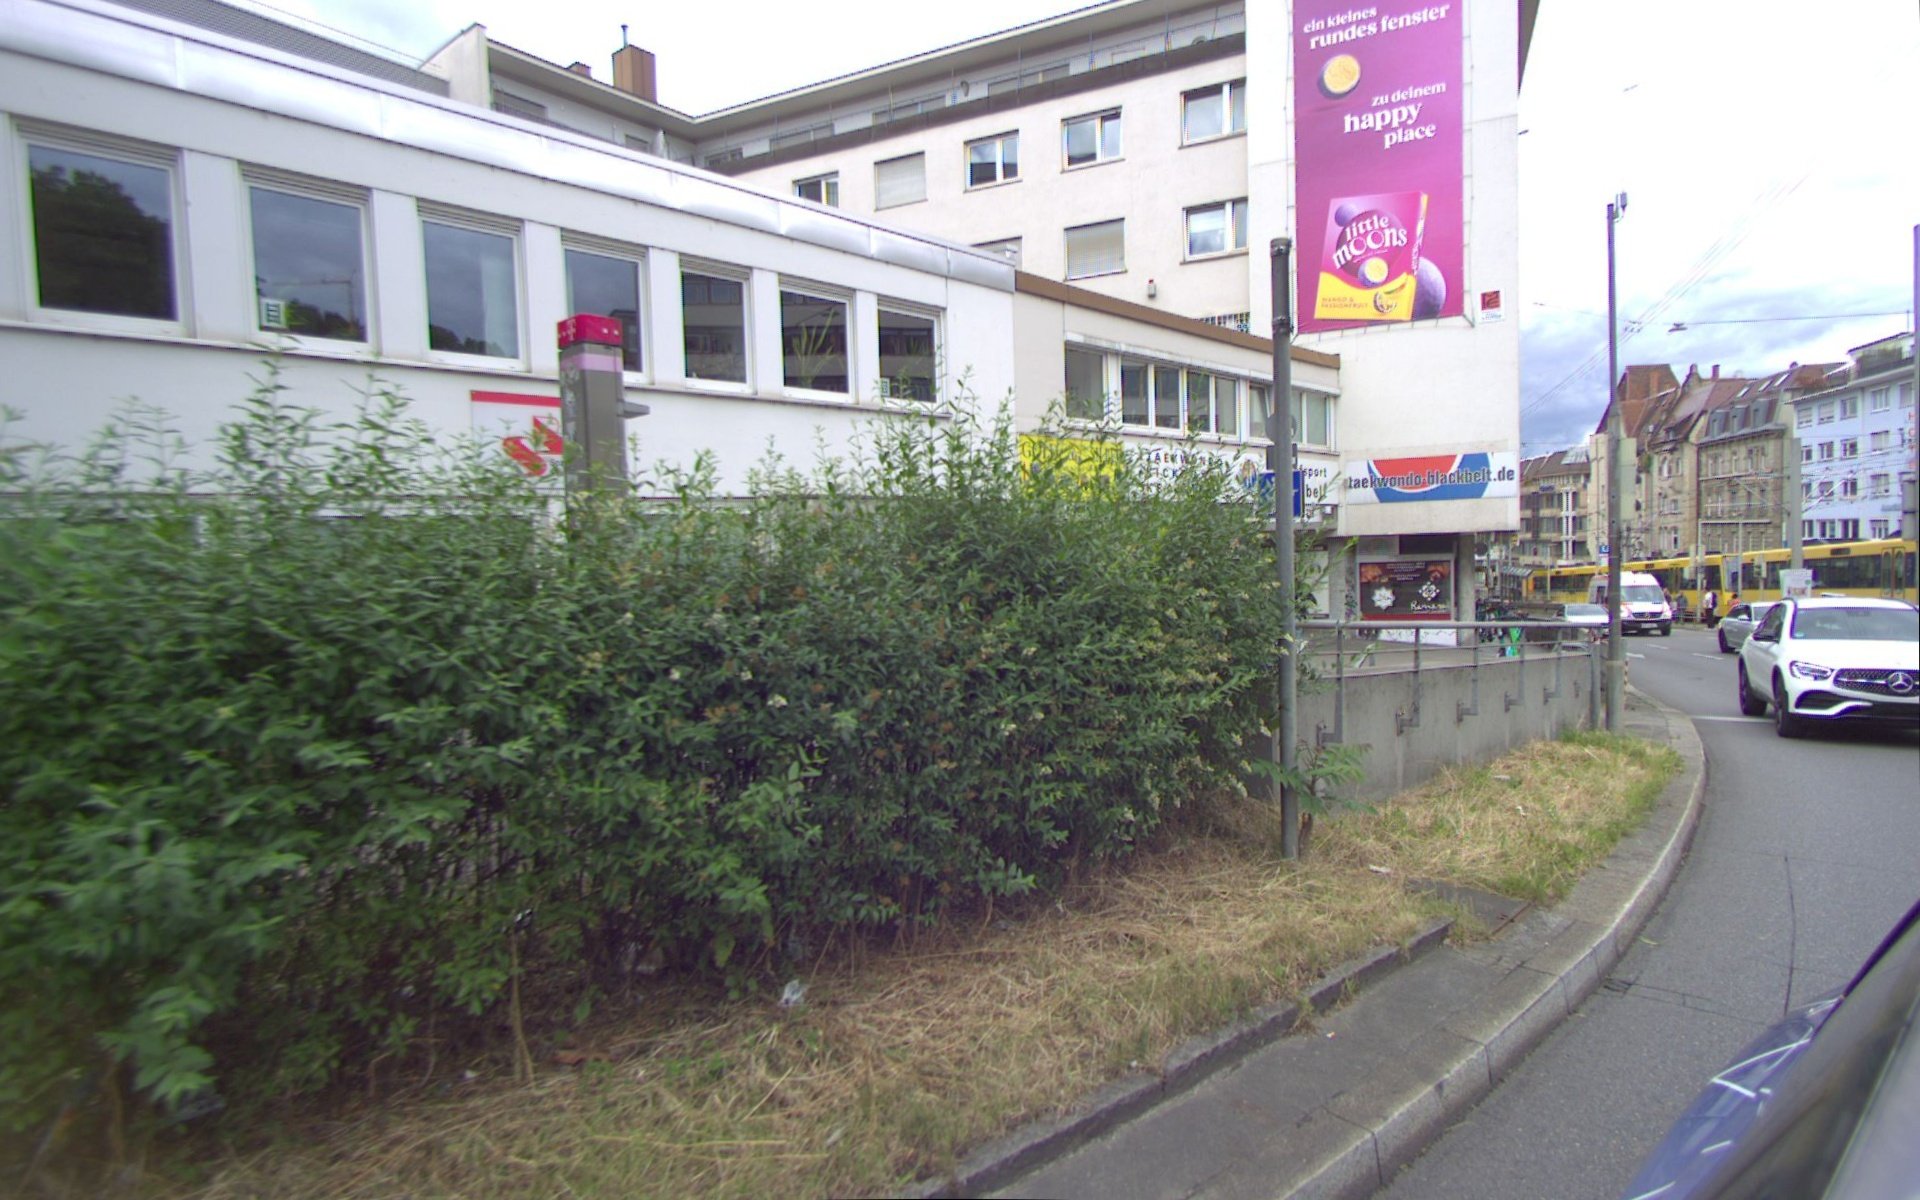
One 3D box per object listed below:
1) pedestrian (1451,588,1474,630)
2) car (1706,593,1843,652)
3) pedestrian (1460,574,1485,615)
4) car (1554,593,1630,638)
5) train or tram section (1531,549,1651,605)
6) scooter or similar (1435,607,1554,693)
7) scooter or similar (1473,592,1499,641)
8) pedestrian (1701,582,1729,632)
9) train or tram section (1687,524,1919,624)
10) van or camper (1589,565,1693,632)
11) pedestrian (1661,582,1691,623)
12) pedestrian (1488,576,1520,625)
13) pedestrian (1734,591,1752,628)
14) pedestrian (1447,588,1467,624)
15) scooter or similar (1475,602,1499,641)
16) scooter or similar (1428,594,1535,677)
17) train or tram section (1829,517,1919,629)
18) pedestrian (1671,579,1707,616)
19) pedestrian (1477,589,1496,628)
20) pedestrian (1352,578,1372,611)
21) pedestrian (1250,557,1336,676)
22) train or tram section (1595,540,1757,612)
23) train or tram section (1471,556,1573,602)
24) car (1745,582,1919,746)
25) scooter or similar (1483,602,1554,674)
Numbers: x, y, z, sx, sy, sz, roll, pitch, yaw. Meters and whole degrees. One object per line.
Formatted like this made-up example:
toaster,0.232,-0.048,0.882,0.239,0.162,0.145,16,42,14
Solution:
pedestrian,22.936,0.422,46.171,0.722,1.829,0.648,7,2,25
car,22.699,0.582,28.417,1.878,1.494,4.494,-2,0,24
pedestrian,24.375,-0.273,48.145,0.732,1.816,0.650,-12,-4,23
car,24.152,0.558,38.808,1.650,1.549,3.972,-4,-1,21
train or tram section,44.992,-1.561,72.855,2.848,3.485,14.169,-3,0,14
scooter or similar,7.742,0.708,14.692,1.417,1.197,0.583,-1,0,-4
scooter or similar,16.334,0.501,31.447,0.663,1.494,1.168,-1,0,26
pedestrian,32.992,0.294,44.206,0.964,2.091,1.019,0,4,38
train or tram section,37.340,-1.076,45.599,2.851,3.710,14.155,-2,0,17
van or camper,28.925,-0.098,43.258,2.183,2.590,6.330,-3,0,21
pedestrian,36.396,0.120,51.434,0.920,1.993,1.227,-1,3,18
pedestrian,25.058,0.022,46.663,0.940,2.086,0.772,9,4,23
pedestrian,33.135,0.400,42.816,0.575,1.481,0.667,1,4,38
pedestrian,25.258,0.292,51.435,0.714,1.808,0.878,-3,-1,20
scooter or similar,17.423,0.701,33.481,0.626,1.265,1.321,-1,0,25
scooter or similar,8.311,0.559,16.154,1.417,1.270,0.557,1,0,-4
train or tram section,32.863,-0.895,32.197,2.854,3.710,14.140,-1,0,19
pedestrian,35.741,-0.112,49.634,1.105,1.699,1.036,-1,5,19
pedestrian,23.278,0.365,44.770,0.557,1.672,0.586,5,2,22
pedestrian,12.459,-0.173,31.336,0.504,0.991,0.490,-1,0,30
pedestrian,5.380,0.234,16.334,1.131,1.833,0.835,0,2,-42
train or tram section,41.292,-1.407,59.177,2.890,3.603,14.163,-3,1,15
train or tram section,47.793,-1.701,86.694,2.844,3.462,14.190,-3,0,9
car,11.145,0.641,12.447,1.922,1.652,4.717,-2,0,33
scooter or similar,9.492,0.631,17.215,0.991,1.197,0.377,-1,0,-4
